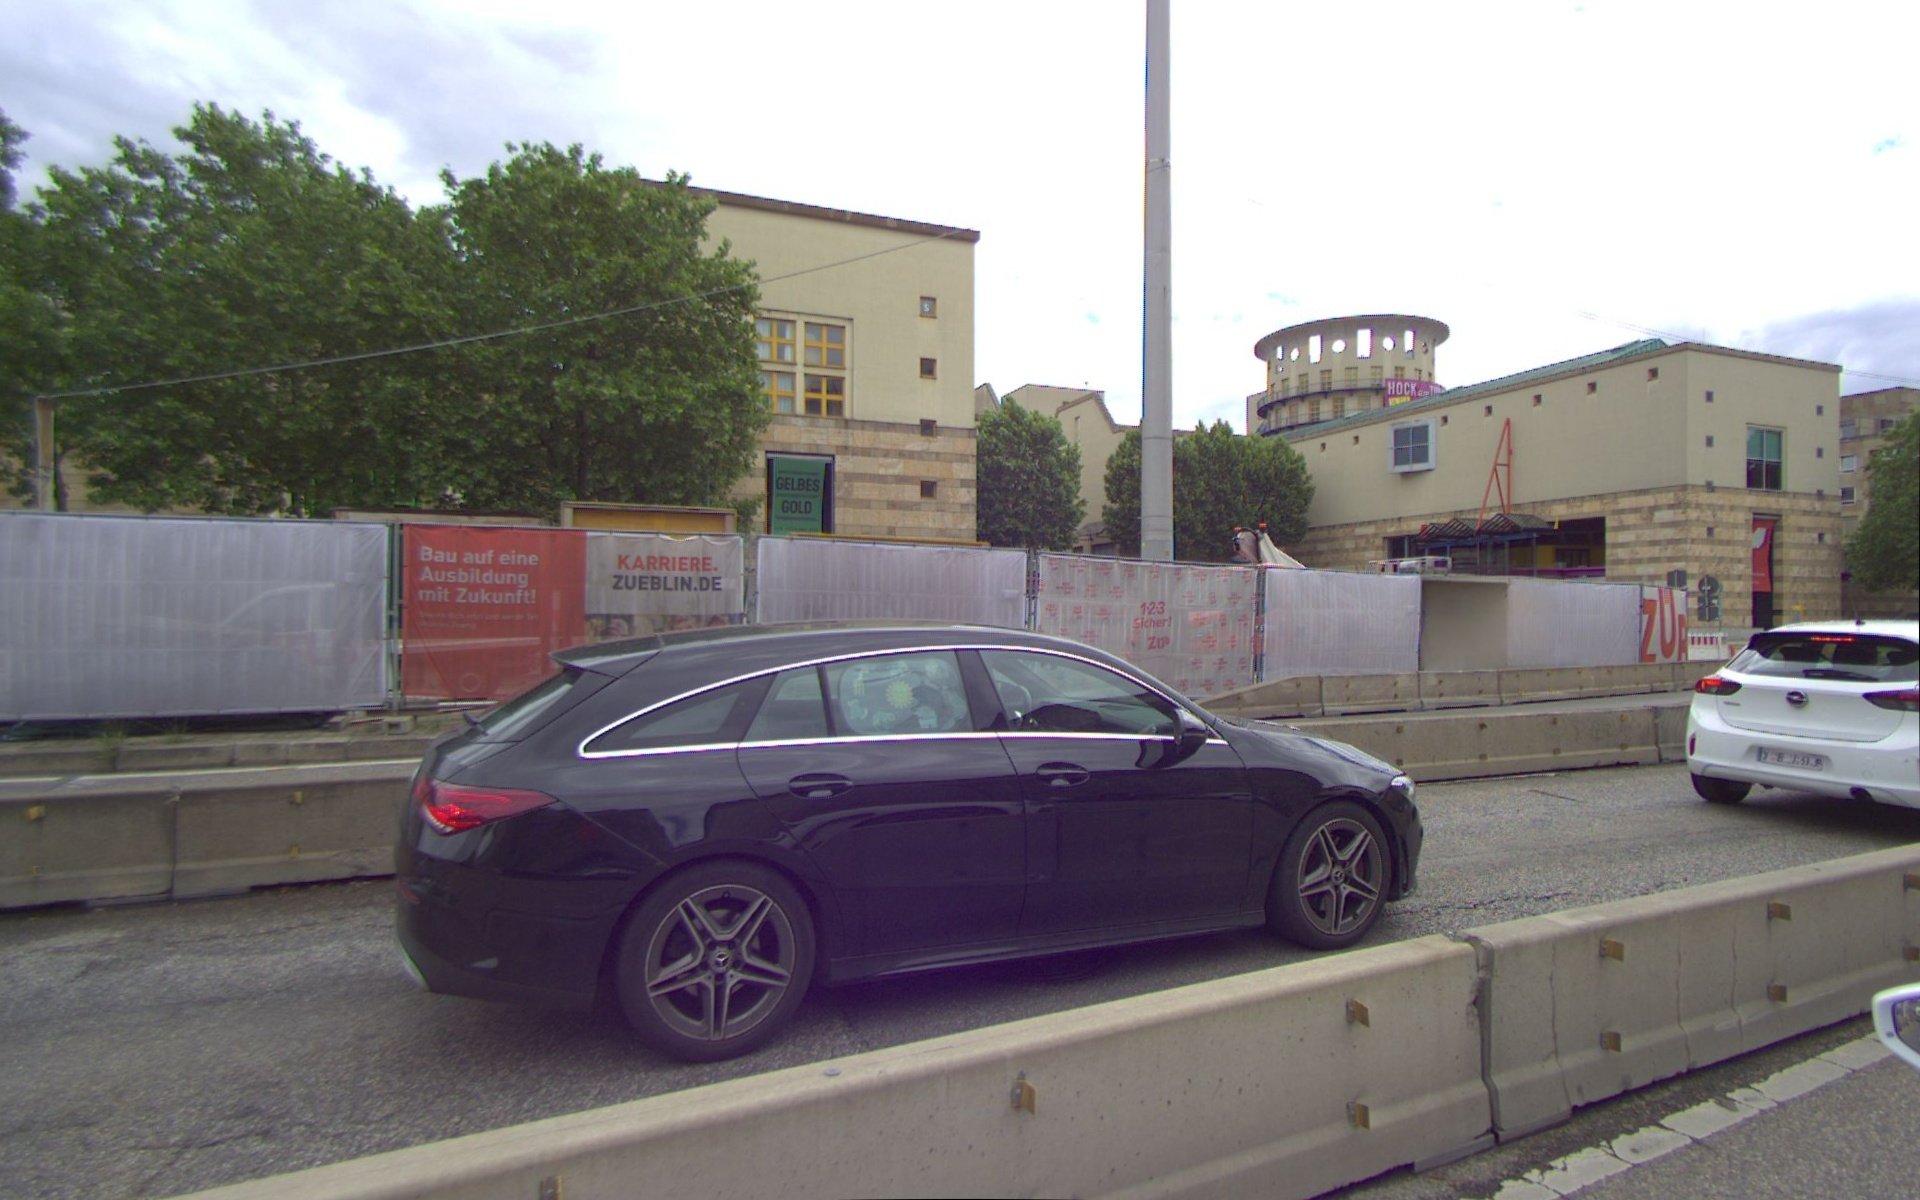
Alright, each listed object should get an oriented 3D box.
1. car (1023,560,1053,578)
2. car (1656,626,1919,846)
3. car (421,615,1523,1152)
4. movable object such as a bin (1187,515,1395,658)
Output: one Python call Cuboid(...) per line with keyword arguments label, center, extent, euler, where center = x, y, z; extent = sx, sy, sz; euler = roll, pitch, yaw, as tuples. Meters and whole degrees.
Cuboid(label="car", center=(8.304, -3.338, 107.290), extent=(1.587, 1.822, 3.787), euler=(1, 1, -22))
Cuboid(label="car", center=(7.396, 0.900, 7.724), extent=(3.884, 1.313, 1.720), euler=(1, 0, -27))
Cuboid(label="car", center=(0.185, 0.830, 4.574), extent=(4.503, 1.434, 1.849), euler=(1, 1, -25))
Cuboid(label="movable object such as a bin", center=(5.598, -0.194, 16.971), extent=(3.250, 2.214, 1.516), euler=(1, 0, -27))
